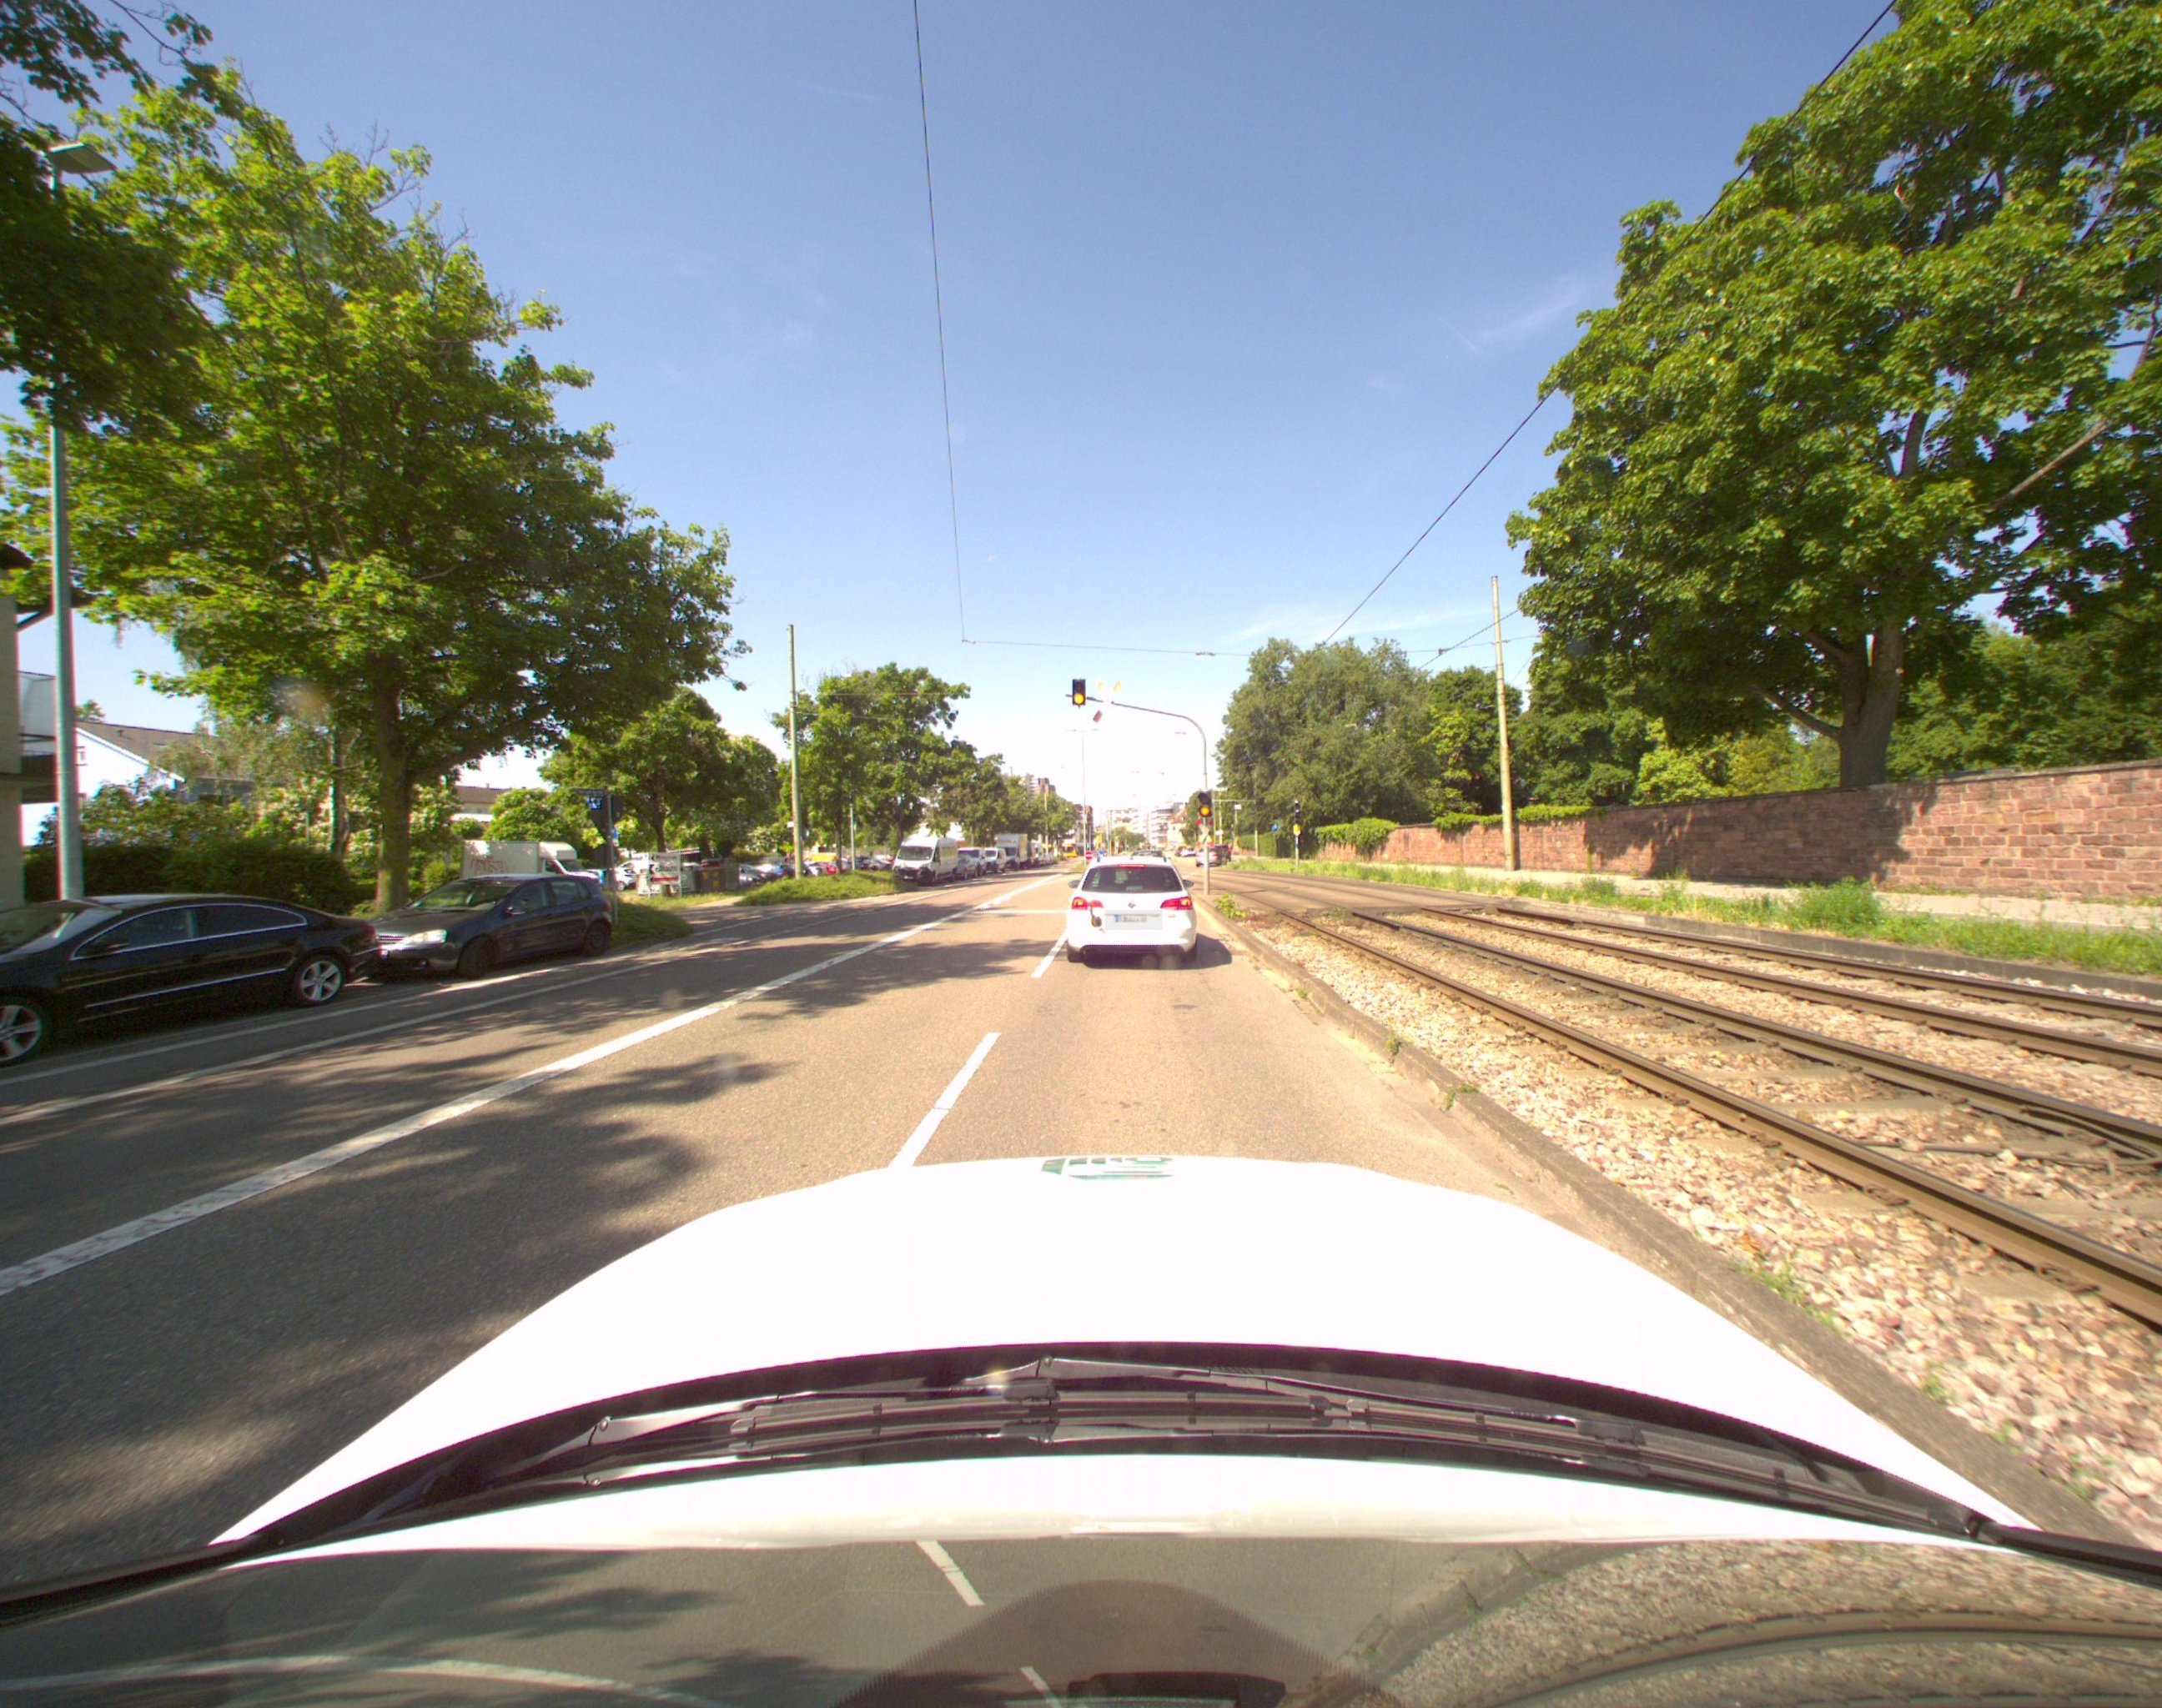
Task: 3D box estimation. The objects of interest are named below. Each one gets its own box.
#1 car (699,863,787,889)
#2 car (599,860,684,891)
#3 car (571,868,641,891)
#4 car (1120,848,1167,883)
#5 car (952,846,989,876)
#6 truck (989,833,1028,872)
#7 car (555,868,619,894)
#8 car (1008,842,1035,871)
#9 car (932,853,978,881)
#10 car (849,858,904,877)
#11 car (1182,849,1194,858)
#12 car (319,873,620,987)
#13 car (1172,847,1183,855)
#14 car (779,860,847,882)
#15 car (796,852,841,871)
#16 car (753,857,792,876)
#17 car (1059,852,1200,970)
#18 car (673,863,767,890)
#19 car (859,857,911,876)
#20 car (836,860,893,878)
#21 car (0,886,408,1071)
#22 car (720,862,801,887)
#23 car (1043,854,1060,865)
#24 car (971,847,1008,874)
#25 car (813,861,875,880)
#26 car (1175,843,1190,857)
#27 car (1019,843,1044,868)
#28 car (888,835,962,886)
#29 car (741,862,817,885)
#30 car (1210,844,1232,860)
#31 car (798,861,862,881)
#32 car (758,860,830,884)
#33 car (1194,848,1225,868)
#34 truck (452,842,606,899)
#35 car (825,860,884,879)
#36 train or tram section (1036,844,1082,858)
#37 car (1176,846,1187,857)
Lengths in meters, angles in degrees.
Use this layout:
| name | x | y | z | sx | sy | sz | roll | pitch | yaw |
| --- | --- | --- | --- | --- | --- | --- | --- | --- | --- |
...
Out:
| name | x | y | z | sx | sy | sz | roll | pitch | yaw |
| --- | --- | --- | --- | --- | --- | --- | --- | --- | --- |
| car | -18.405 | 1.173 | 44.457 | 3.972 | 1.225 | 1.772 | -2 | 0 | 1 |
| car | -30.237 | 1.461 | 56.110 | 4.680 | 2.014 | 1.999 | 0 | 0 | -2 |
| car | -31.153 | 1.675 | 53.449 | 3.752 | 1.356 | 1.561 | 1 | 1 | 7 |
| car | 2.678 | 0.452 | 34.174 | 1.736 | 1.388 | 3.922 | 0 | 0 | 8 |
| car | -7.543 | 0.462 | 56.124 | 1.838 | 1.937 | 5.192 | -2 | 0 | 0 |
| truck | -6.233 | -0.155 | 71.118 | 2.347 | 3.122 | 6.896 | -2 | 0 | 3 |
| car | -30.921 | 1.673 | 51.009 | 3.116 | 1.432 | 1.561 | 1 | 1 | 7 |
| car | -5.781 | 0.178 | 79.411 | 1.835 | 2.668 | 5.009 | -2 | 0 | 4 |
| car | -7.544 | 0.755 | 49.242 | 1.836 | 1.516 | 4.201 | -2 | 0 | 3 |
| car | -17.001 | 1.086 | 67.721 | 3.967 | 1.402 | 1.774 | -2 | 0 | 5 |
| car | 17.116 | -0.107 | 130.371 | 1.575 | 1.346 | 3.457 | 0 | 0 | 3 |
| car | -9.561 | 1.087 | 13.217 | 1.634 | 1.450 | 4.009 | 0 | 0 | 4 |
| car | 19.208 | -0.517 | 162.070 | 1.985 | 1.596 | 4.004 | 0 | 0 | 4 |
| car | -18.226 | 1.154 | 55.543 | 3.967 | 1.264 | 1.774 | -2 | 0 | 5 |
| car | -28.620 | 0.807 | 88.829 | 4.247 | 2.014 | 1.998 | 0 | 0 | -3 |
| car | -31.763 | 1.289 | 83.897 | 3.410 | 1.876 | 1.553 | -2 | 0 | 1 |
| car | 0.696 | 0.709 | 12.153 | 1.761 | 1.446 | 3.916 | 0 | 0 | 2 |
| car | -18.534 | 1.150 | 41.902 | 3.972 | 1.225 | 1.772 | -2 | 0 | 1 |
| car | -16.894 | 1.051 | 70.224 | 3.967 | 1.444 | 1.774 | -2 | 0 | 5 |
| car | -17.277 | 1.207 | 65.093 | 3.967 | 1.225 | 1.774 | -2 | 0 | 5 |
| car | -9.946 | 1.140 | 8.491 | 1.683 | 1.379 | 4.786 | 0 | 0 | 3 |
| car | -18.527 | 1.171 | 47.185 | 3.967 | 1.225 | 1.774 | -2 | 0 | 5 |
| car | -3.891 | 0.707 | 107.167 | 1.773 | 1.433 | 4.041 | -2 | 0 | 3 |
| car | -6.964 | 0.473 | 62.677 | 1.835 | 1.960 | 5.139 | -2 | 0 | 4 |
| car | -17.603 | 1.249 | 60.644 | 3.967 | 1.225 | 1.774 | -2 | 0 | 5 |
| car | 19.111 | -0.771 | 153.584 | 2.452 | 2.499 | 5.915 | 0 | 0 | 3 |
| car | -5.234 | 0.121 | 86.478 | 1.835 | 2.494 | 5.863 | -2 | 0 | 4 |
| car | -8.154 | 0.293 | 43.192 | 2.048 | 2.501 | 6.318 | 1 | 1 | 6 |
| car | -18.701 | 1.196 | 50.472 | 3.967 | 1.225 | 1.774 | -2 | 0 | 5 |
| car | 13.284 | -0.177 | 77.335 | 1.851 | 1.513 | 3.921 | 0 | 0 | 7 |
| car | -17.883 | 1.230 | 58.084 | 3.967 | 1.225 | 1.774 | -2 | 0 | 5 |
| car | -18.631 | 1.152 | 53.030 | 3.967 | 1.350 | 1.774 | -2 | 0 | 5 |
| car | 9.590 | 0.253 | 60.686 | 1.847 | 1.416 | 4.342 | 0 | 0 | 15 |
| truck | -31.011 | 0.883 | 45.914 | 7.115 | 3.019 | 2.232 | 1 | 0 | 1 |
| car | -17.524 | 1.196 | 62.981 | 3.967 | 1.225 | 1.774 | -2 | 0 | 5 |
| train or tram section | -5.182 | -0.636 | 188.865 | 11.129 | 3.253 | 2.323 | 0 | -1 | 32 |
| car | 17.863 | -0.419 | 144.292 | 1.684 | 1.812 | 3.457 | 0 | 0 | 3 |
